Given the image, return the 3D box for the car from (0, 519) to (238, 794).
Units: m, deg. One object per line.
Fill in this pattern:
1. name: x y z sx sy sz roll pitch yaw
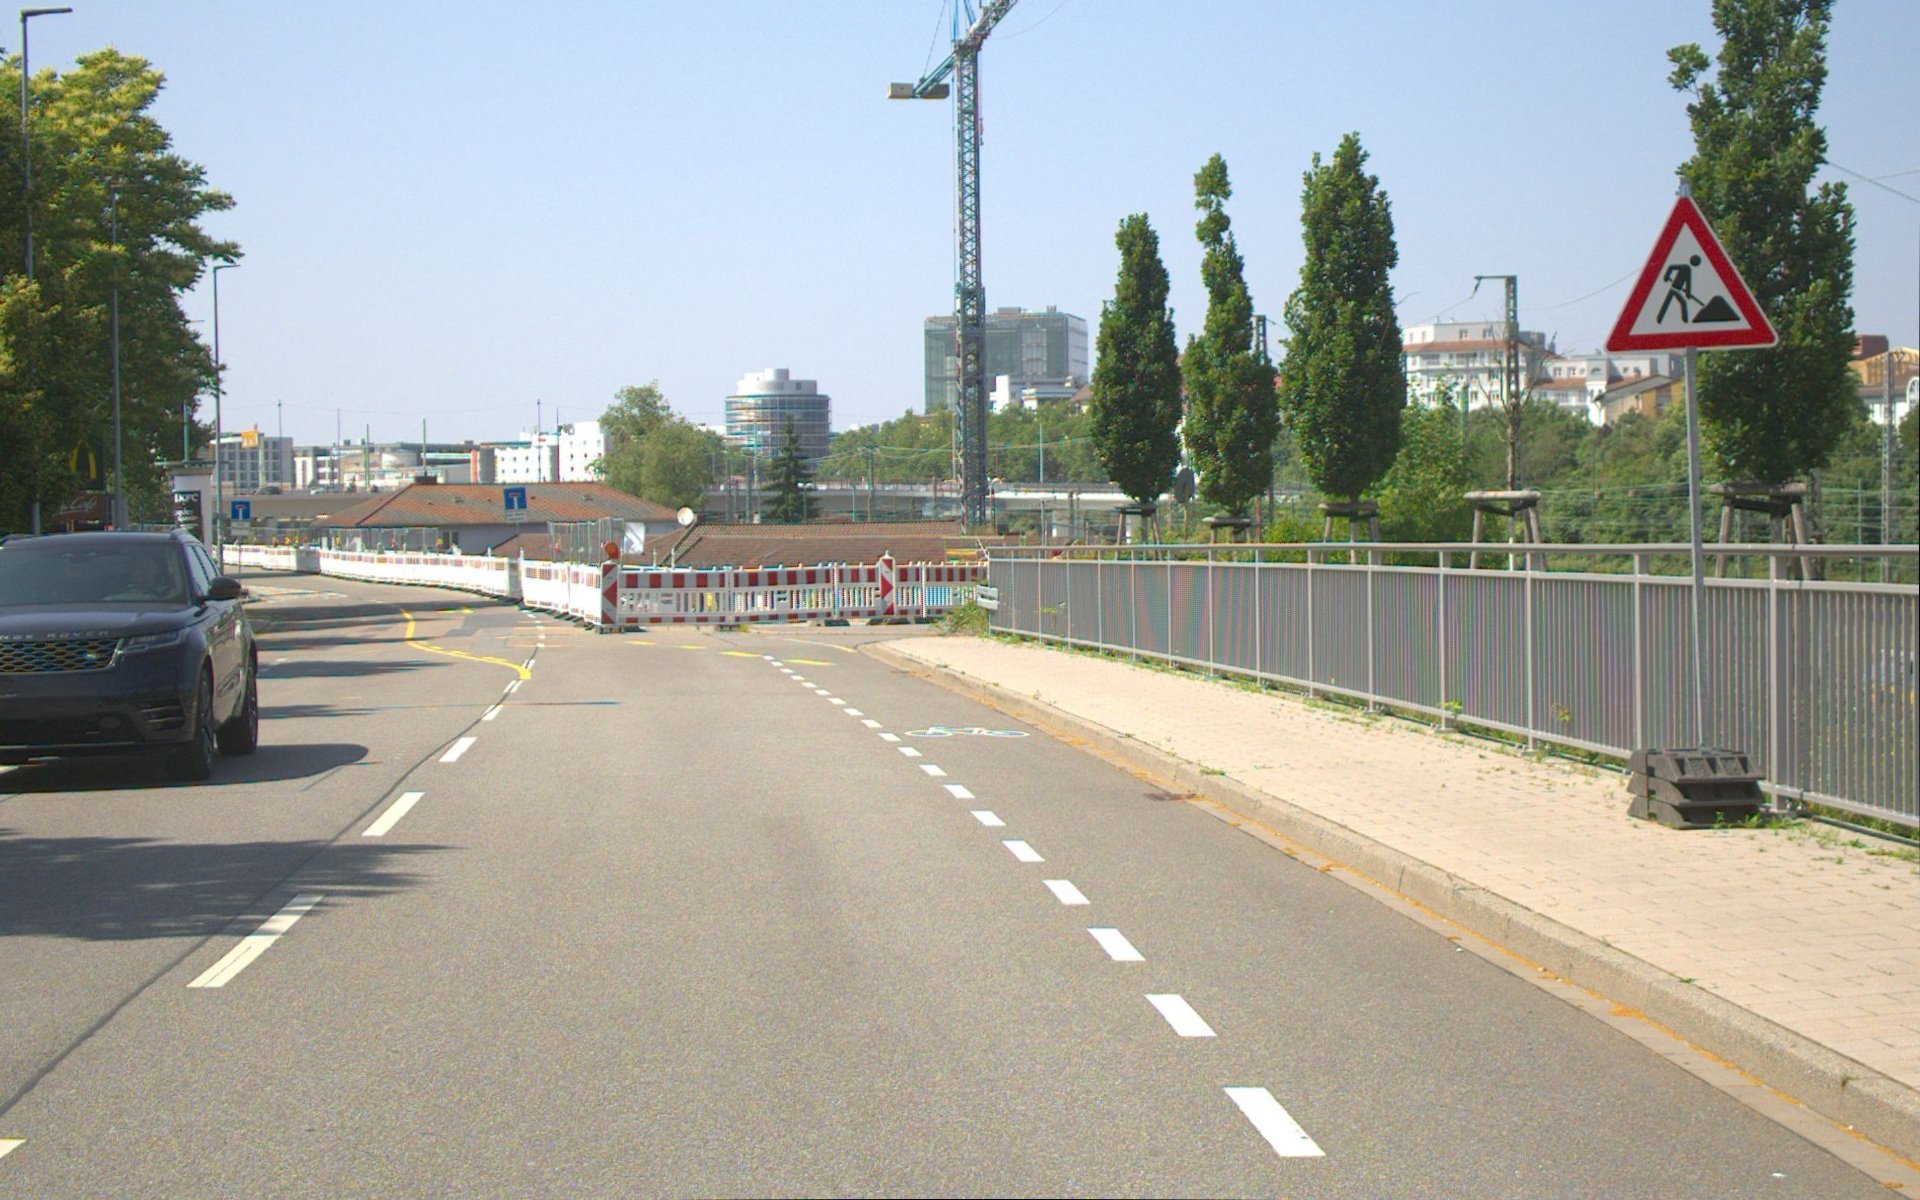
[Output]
1. car: -6.048 0.305 23.827 1.949 1.689 4.614 -1 2 -11
